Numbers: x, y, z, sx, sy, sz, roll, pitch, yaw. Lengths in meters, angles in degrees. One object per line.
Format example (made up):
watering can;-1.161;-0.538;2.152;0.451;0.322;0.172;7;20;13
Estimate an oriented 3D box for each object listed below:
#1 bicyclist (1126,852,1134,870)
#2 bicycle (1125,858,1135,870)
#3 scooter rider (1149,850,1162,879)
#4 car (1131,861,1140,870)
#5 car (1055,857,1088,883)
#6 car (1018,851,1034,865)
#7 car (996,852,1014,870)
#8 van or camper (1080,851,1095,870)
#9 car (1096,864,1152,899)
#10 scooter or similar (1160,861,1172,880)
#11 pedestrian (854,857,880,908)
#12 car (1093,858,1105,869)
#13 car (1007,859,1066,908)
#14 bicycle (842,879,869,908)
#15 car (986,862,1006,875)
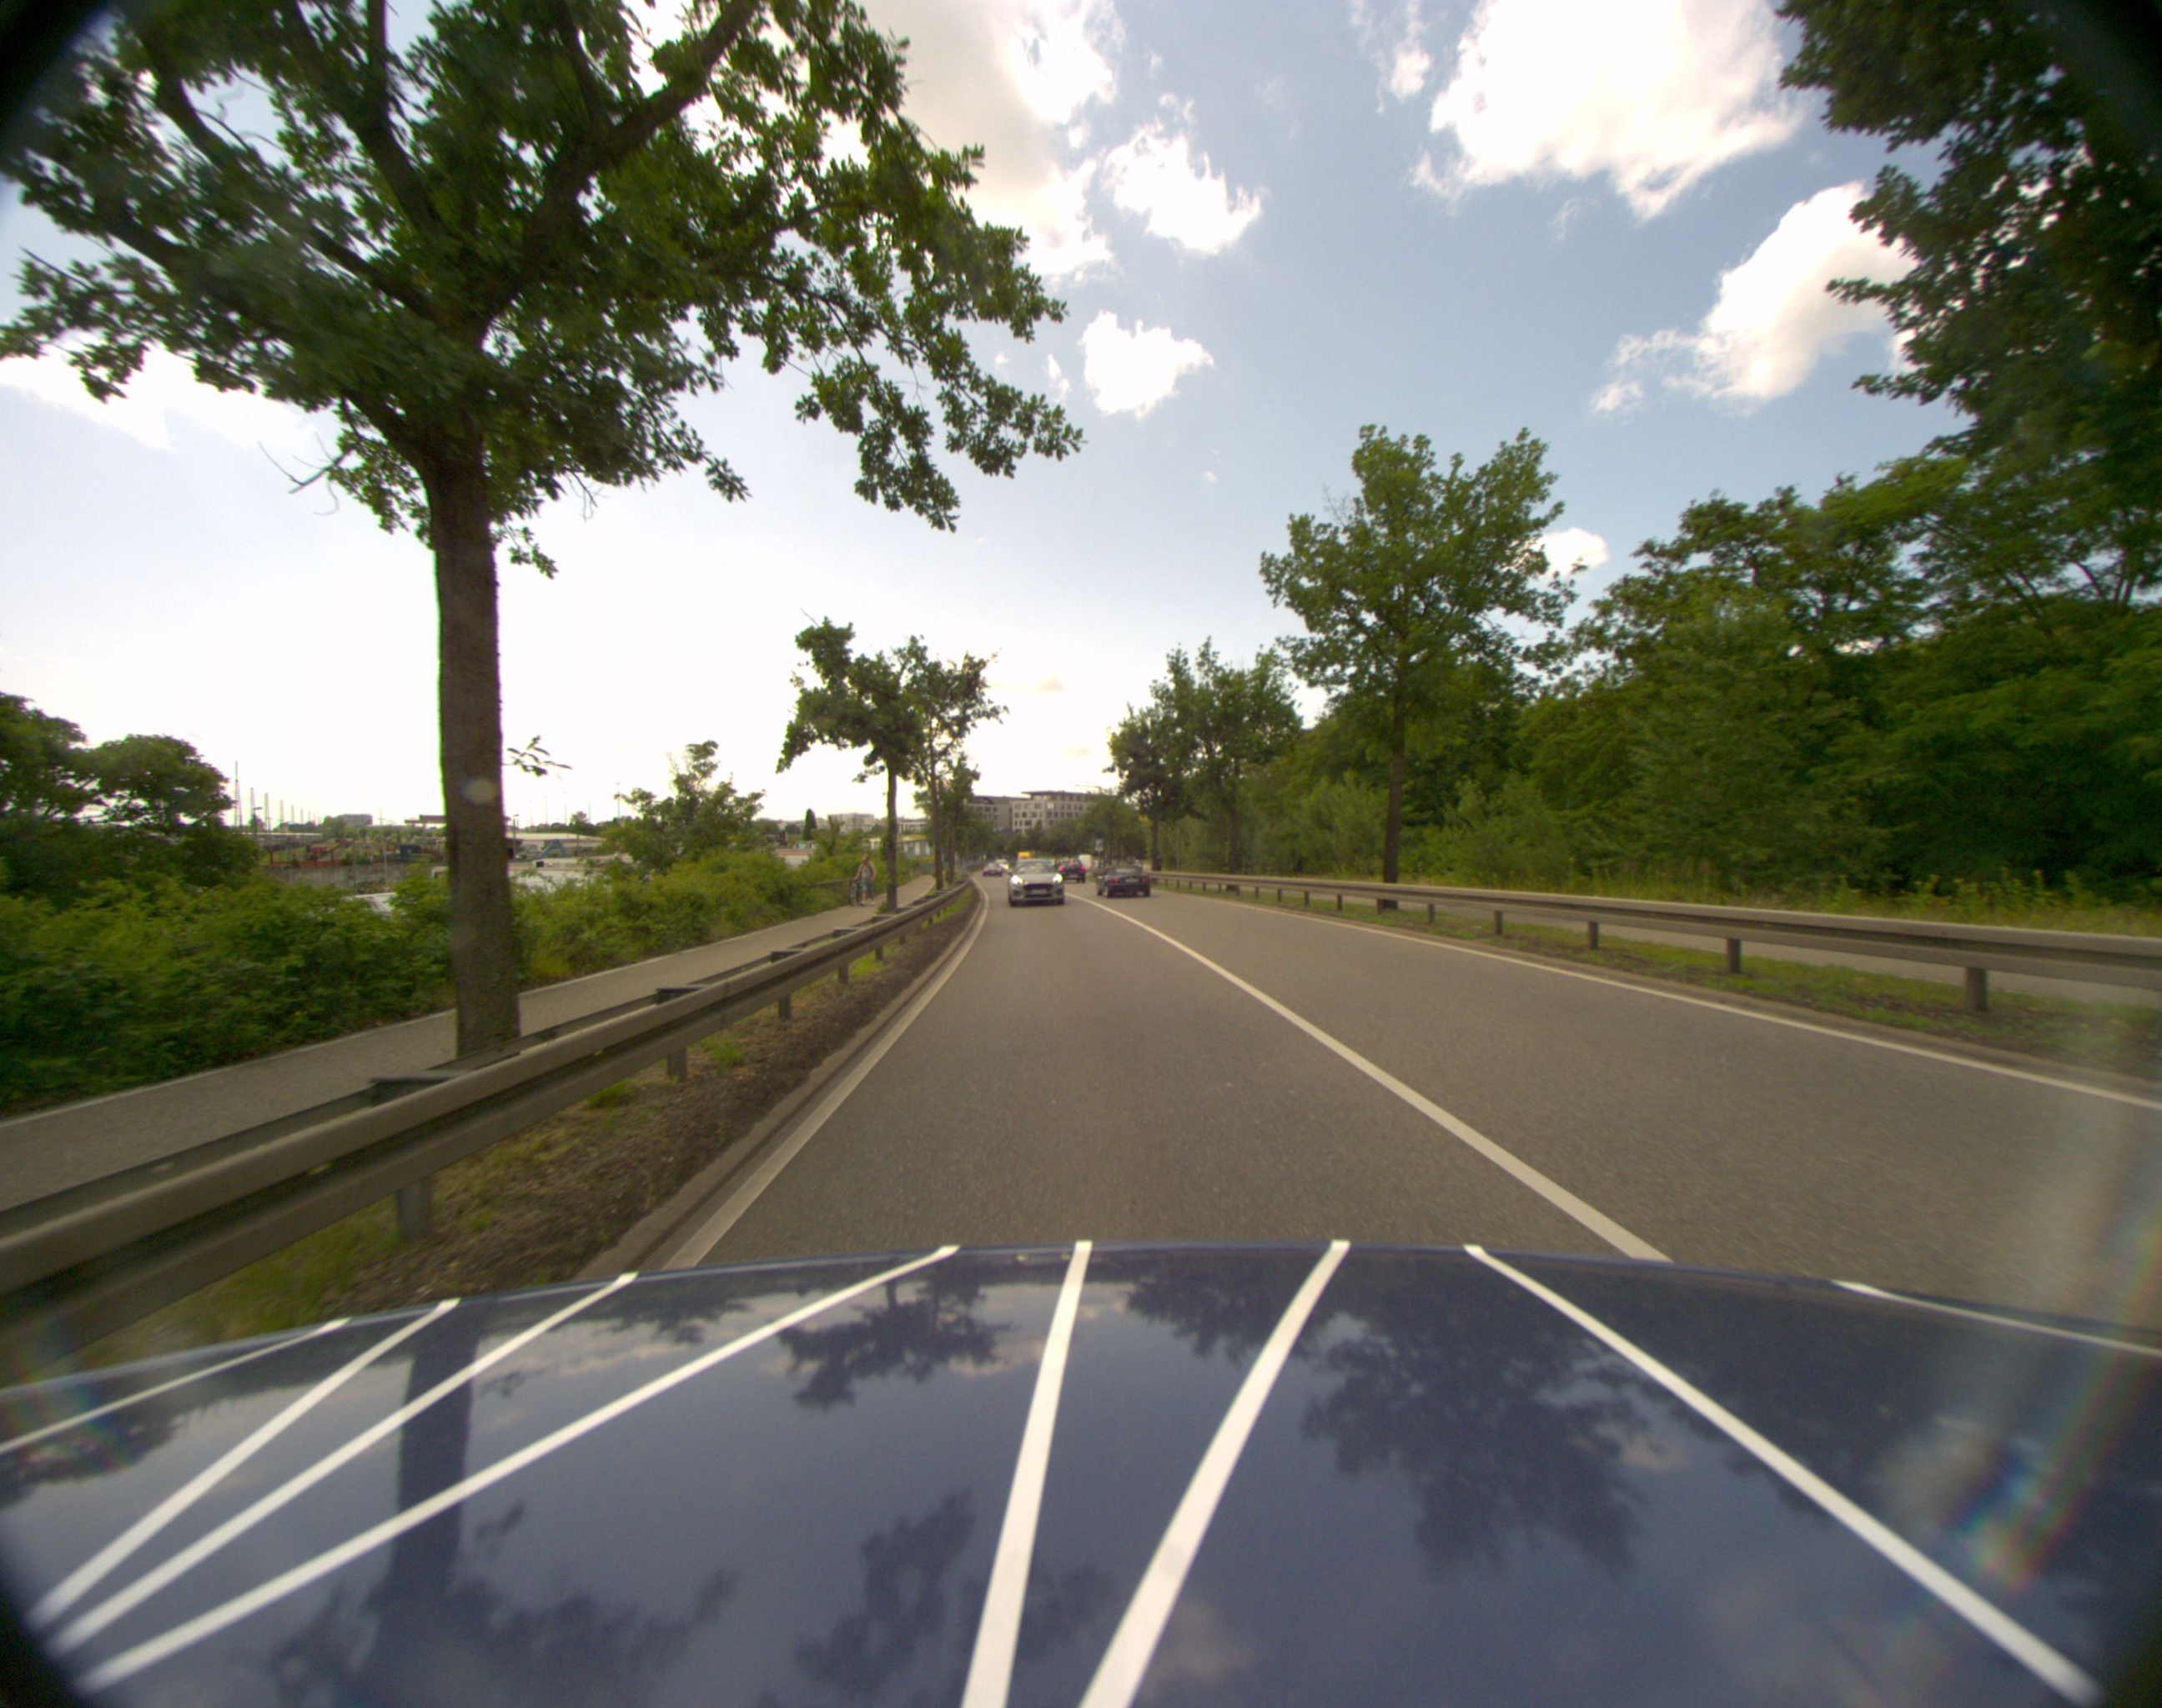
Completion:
bicyclist;4.243;0.598;65.853;0.486;1.544;0.880;1;0;-7
bicycle;4.250;0.852;65.921;0.558;1.057;1.753;0;0;-7
scooter rider;4.699;0.651;48.038;0.664;1.845;0.619;1;0;-8
car;11.273;2.324;156.336;1.778;1.852;4.127;1;-1;4
car;-0.654;1.014;50.100;1.786;1.597;4.156;-2;0;-5
car;-9.389;0.641;130.704;1.998;2.306;4.888;-2;0;4
car;-9.015;0.834;90.549;2.000;2.002;3.997;3;1;-6
van or camper;0.953;0.976;108.206;1.998;2.566;5.982;-1;-1;2
car;1.606;1.019;29.411;1.597;1.211;3.788;-1;0;-5
scooter or similar;5.384;1.058;48.218;0.637;1.200;0.558;1;-1;-9
pedestrian;-7.060;0.925;25.052;0.659;1.632;1.054;1;0;-7
car;3.127;1.655;129.163;1.779;1.856;5.269;1;0;4
car;-1.617;0.956;26.362;1.828;1.516;3.998;-1;0;-6
bicycle;-7.412;1.296;25.062;0.558;0.864;1.824;1;0;-7
car;-8.151;1.365;73.066;1.848;1.201;3.998;1;-1;-5
